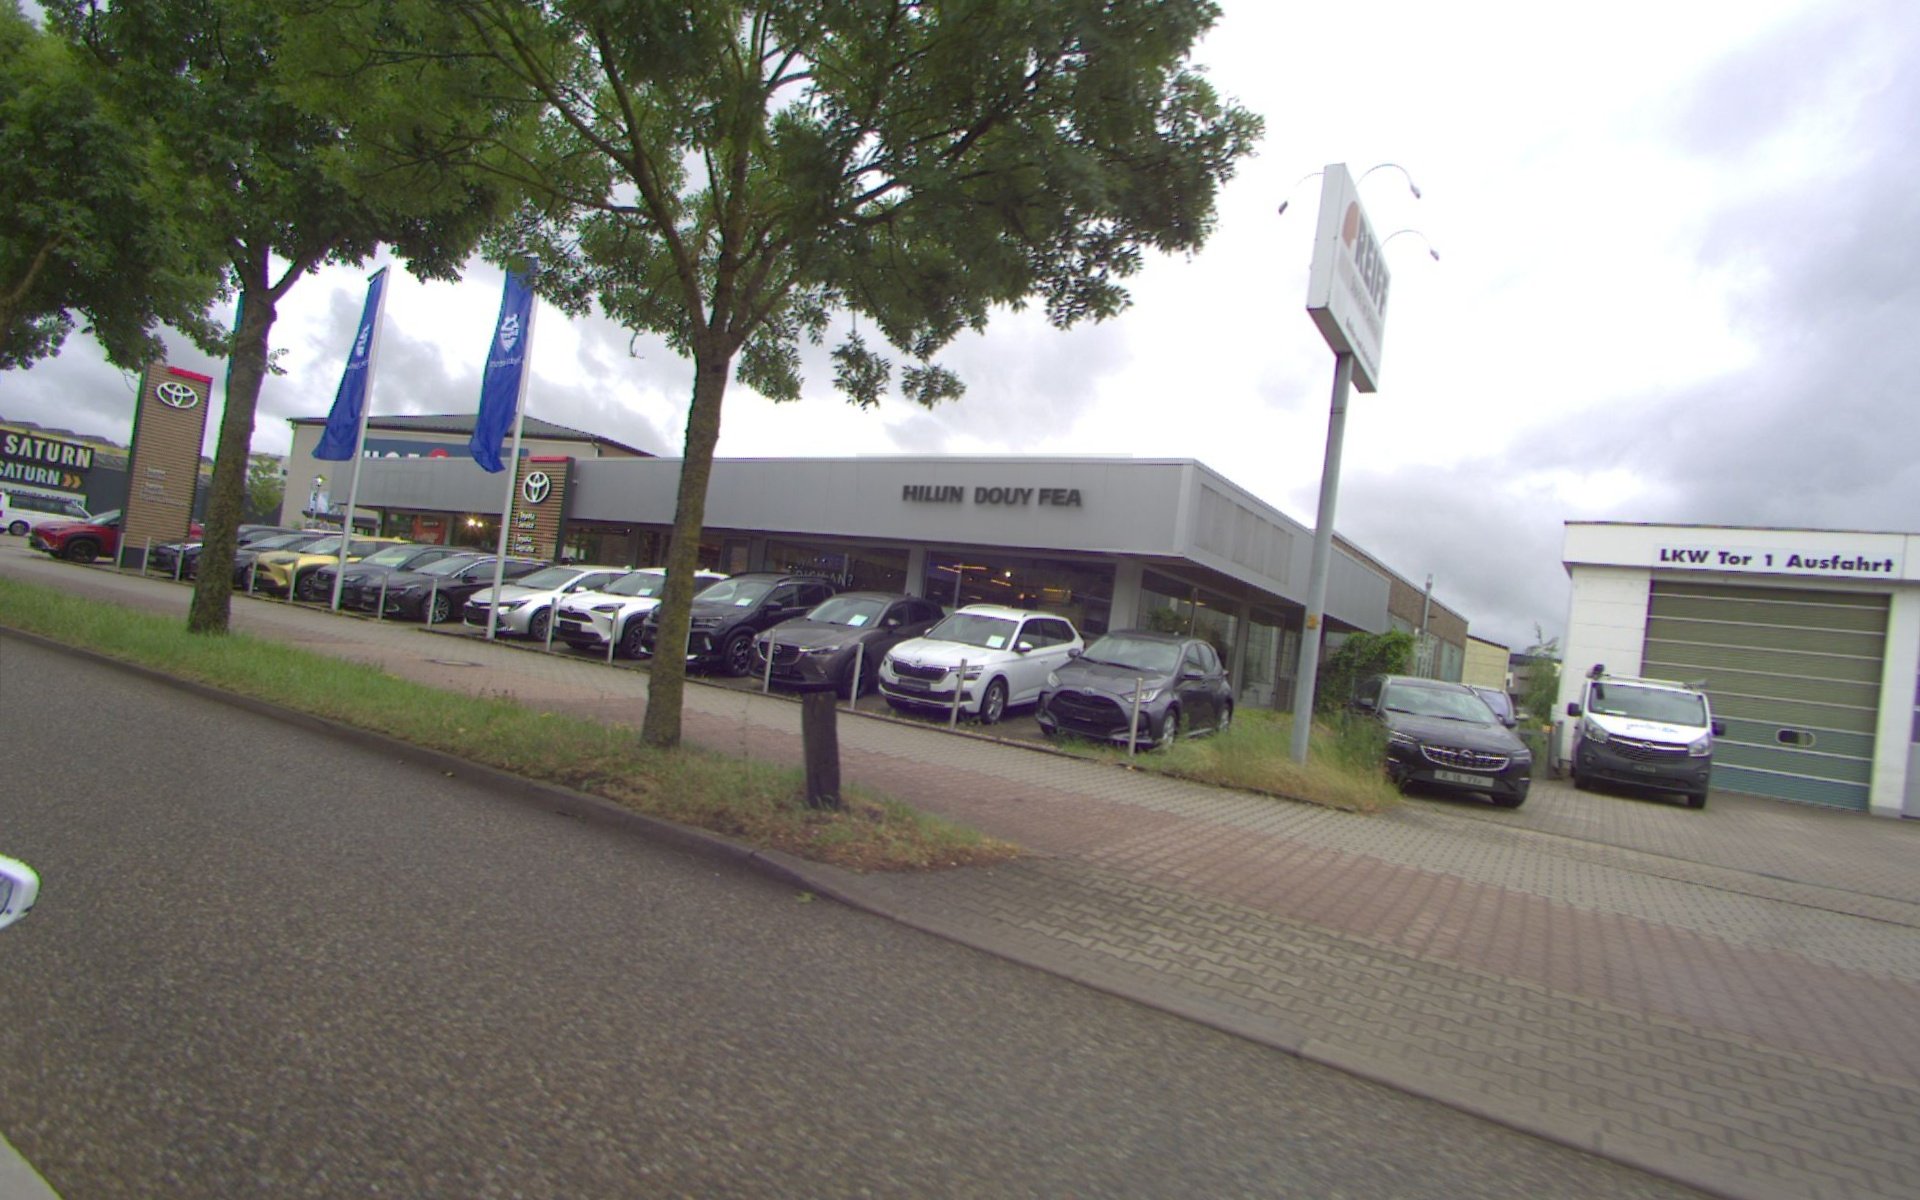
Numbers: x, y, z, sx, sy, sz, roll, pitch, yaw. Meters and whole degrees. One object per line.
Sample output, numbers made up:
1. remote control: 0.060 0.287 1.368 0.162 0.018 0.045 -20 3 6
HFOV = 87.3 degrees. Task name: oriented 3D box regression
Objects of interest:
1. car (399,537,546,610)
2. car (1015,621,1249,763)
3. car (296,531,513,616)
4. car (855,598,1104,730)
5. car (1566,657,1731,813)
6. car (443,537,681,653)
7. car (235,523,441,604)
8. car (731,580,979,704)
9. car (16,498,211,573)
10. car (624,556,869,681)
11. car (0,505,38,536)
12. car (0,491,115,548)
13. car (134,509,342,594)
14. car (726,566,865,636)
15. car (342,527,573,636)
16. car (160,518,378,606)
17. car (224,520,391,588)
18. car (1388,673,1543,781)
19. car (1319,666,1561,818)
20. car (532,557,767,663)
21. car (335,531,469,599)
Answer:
1. car: -14.119 -0.774 29.069 4.055 1.641 1.876 6 0 33
2. car: 2.499 1.139 13.842 1.797 1.481 3.834 7 2 31
3. car: -12.708 -0.559 23.243 1.683 1.567 3.987 7 1 33
4. car: 0.433 0.885 15.176 1.783 1.564 3.985 7 2 33
5. car: 12.096 2.318 17.972 1.932 2.175 4.662 7 -2 31
6. car: -7.857 -0.029 20.195 1.783 1.807 3.992 7 -1 33
7. car: -14.804 -0.828 24.152 1.638 1.586 3.842 6 2 29
8. car: -1.570 0.643 16.332 1.783 1.606 3.985 7 2 33
9. car: -24.068 -1.811 28.748 1.766 1.624 3.844 6 0 32
10. car: -3.587 0.309 17.561 1.783 1.810 3.985 7 2 33
11. car: -55.346 -4.736 57.489 4.861 1.485 1.887 7 -1 22
12. car: -44.482 -3.939 48.838 1.954 2.037 4.839 6 -2 22
13. car: -18.984 -1.232 26.622 1.814 1.667 3.993 7 -1 31
14. car: -4.735 0.080 29.438 1.646 1.554 3.993 7 -2 33
15. car: -10.784 -0.328 21.855 1.783 1.807 3.992 7 -1 33
16. car: -17.044 -0.891 25.013 1.770 1.556 3.994 7 -2 31
17. car: -21.210 -1.477 32.848 1.851 1.641 4.110 7 0 35
18. car: 9.643 2.348 18.987 1.968 1.515 4.659 6 -2 33
19. car: 6.379 1.814 13.852 1.760 1.481 3.694 7 -1 7
20. car: -5.683 0.170 18.872 1.781 1.609 3.987 7 3 30
21. car: -17.595 -1.109 31.672 4.055 1.641 1.876 6 0 33
